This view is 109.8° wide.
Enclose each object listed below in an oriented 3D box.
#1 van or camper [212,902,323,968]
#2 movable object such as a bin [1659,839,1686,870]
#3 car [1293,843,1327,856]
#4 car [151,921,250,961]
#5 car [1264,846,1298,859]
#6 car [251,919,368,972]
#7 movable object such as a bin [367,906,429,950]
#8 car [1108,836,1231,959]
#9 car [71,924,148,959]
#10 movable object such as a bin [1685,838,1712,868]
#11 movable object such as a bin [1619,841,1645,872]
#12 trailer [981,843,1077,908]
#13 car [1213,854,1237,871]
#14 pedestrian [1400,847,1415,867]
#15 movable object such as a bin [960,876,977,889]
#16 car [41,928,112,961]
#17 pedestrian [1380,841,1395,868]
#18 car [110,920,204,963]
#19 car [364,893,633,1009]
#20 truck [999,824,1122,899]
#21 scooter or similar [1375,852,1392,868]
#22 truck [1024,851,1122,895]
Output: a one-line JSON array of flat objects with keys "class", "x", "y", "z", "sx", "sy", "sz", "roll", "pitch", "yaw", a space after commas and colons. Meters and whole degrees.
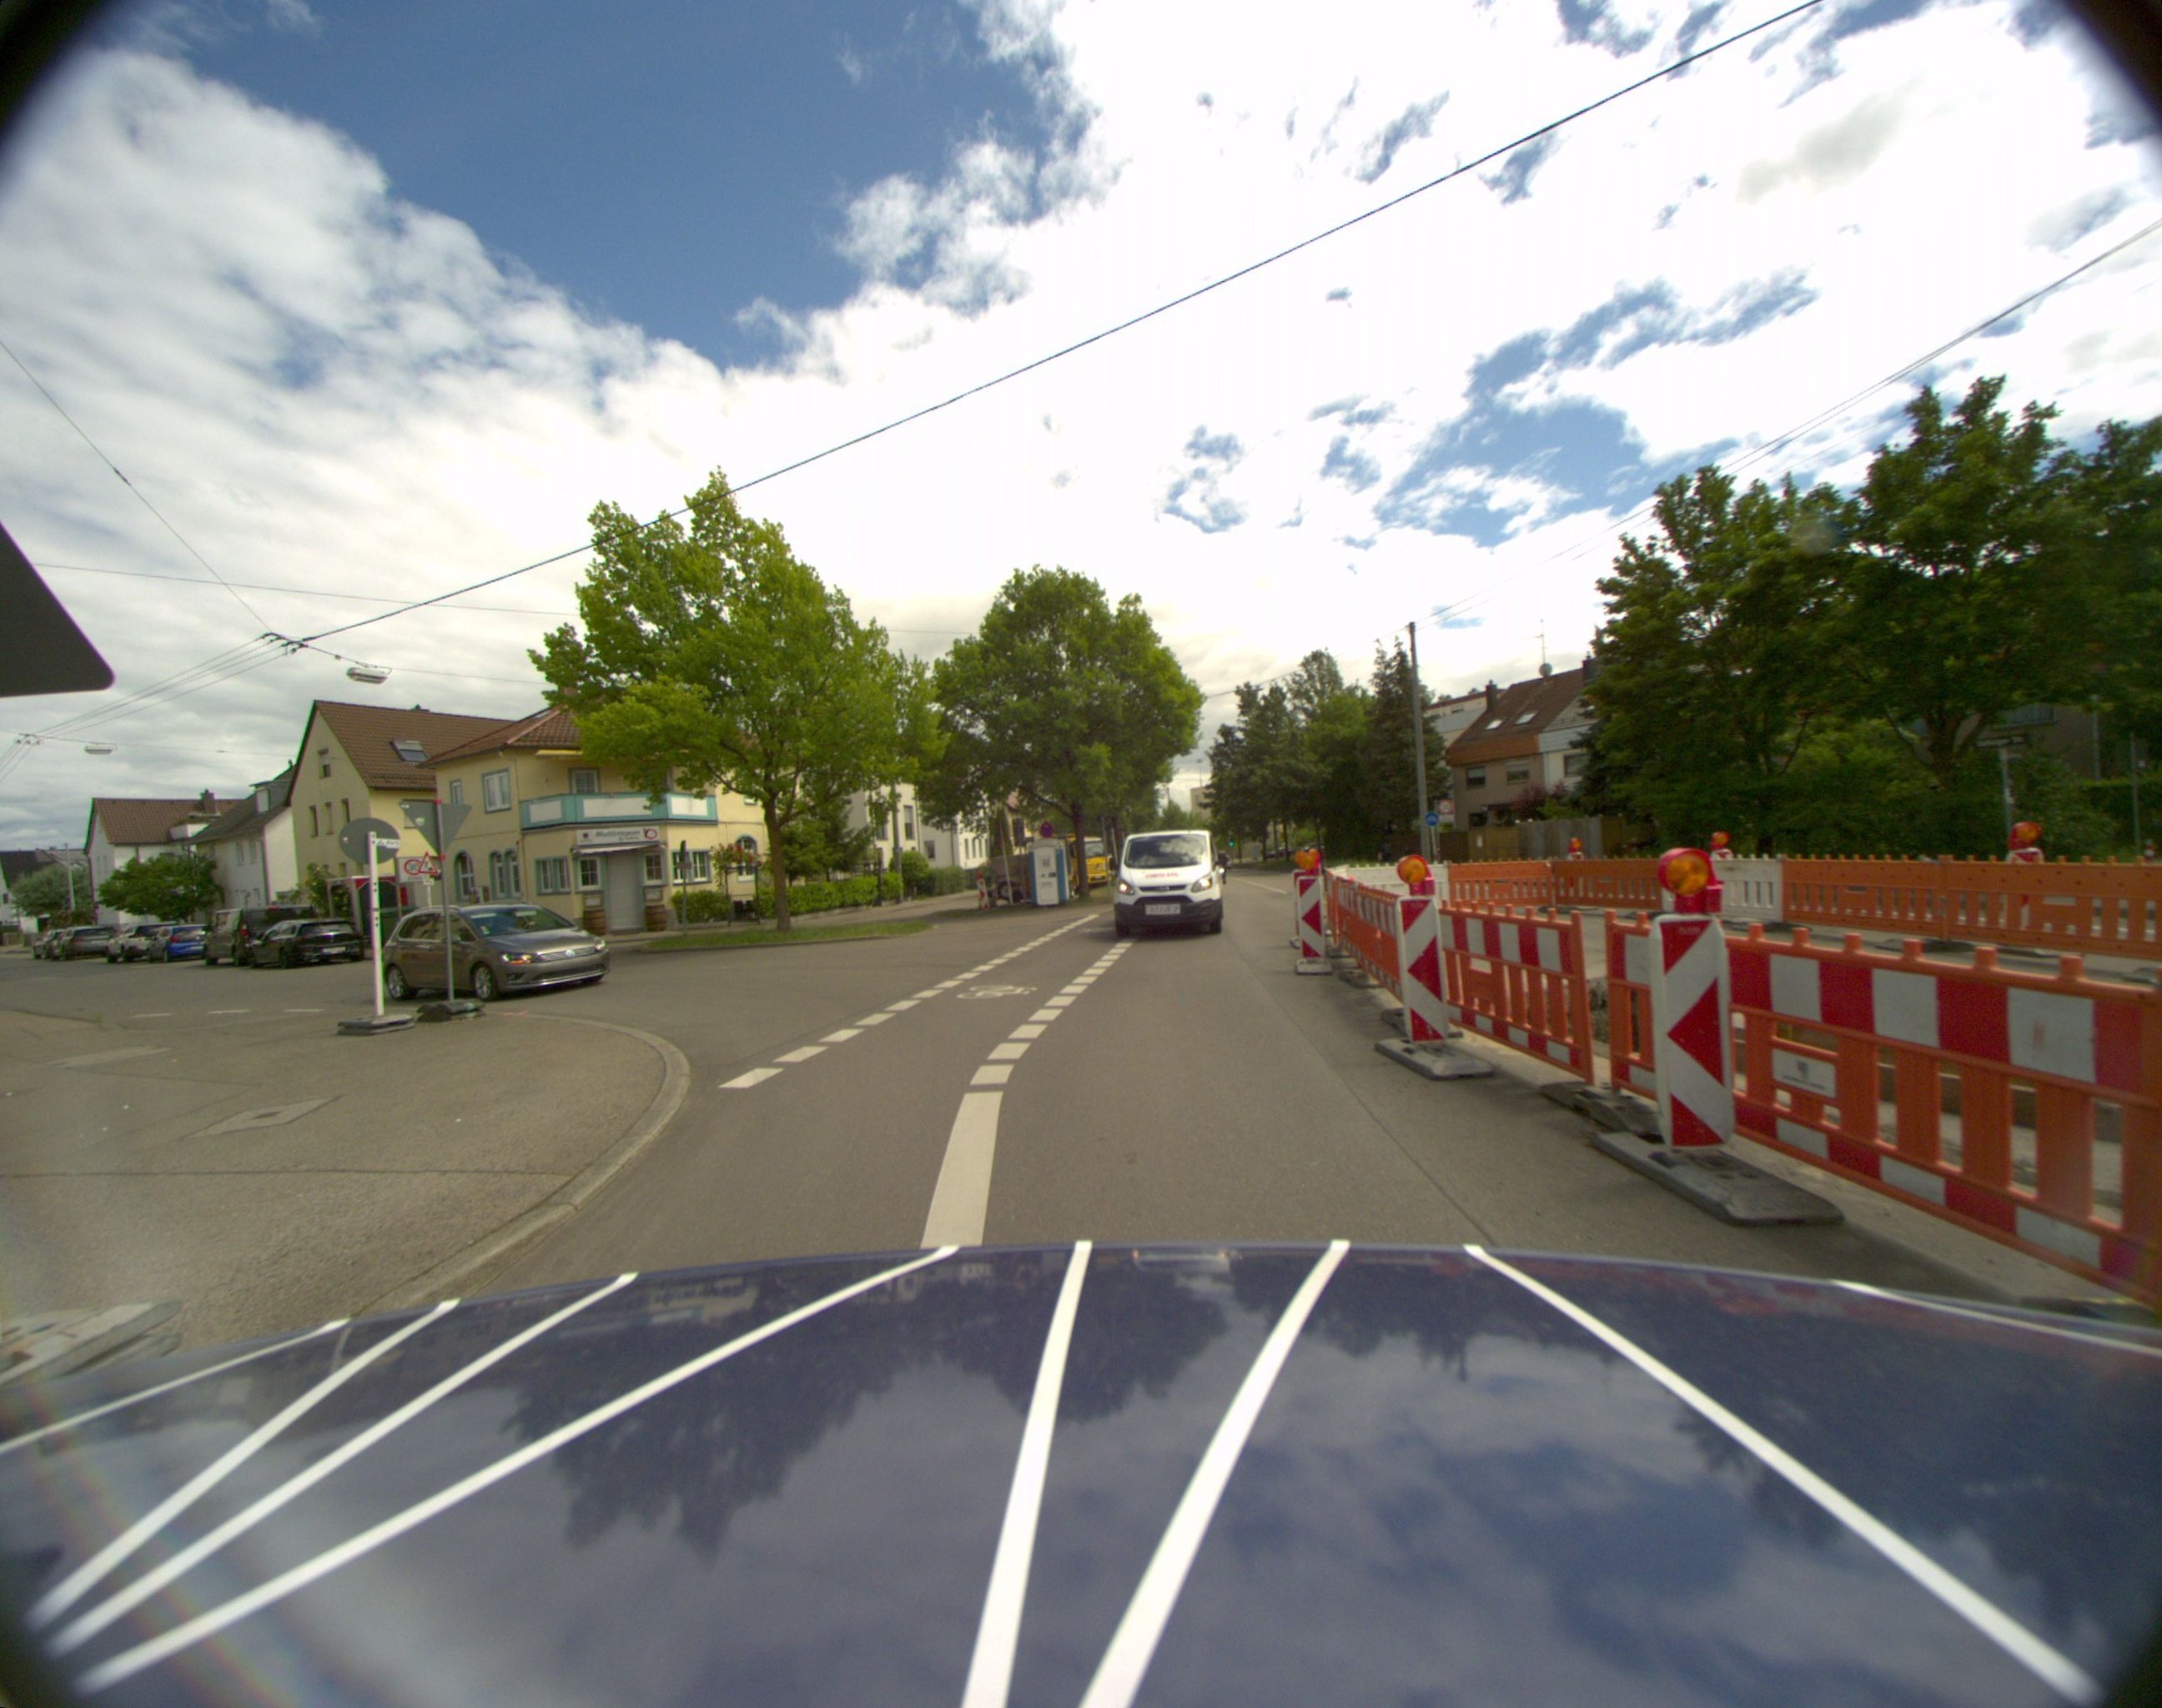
[{"class": "van or camper", "x": -28.355, "y": 2.786, "z": 26.465, "sx": 4.081, "sy": 1.987, "sz": 1.856, "roll": -4, "pitch": 0, "yaw": 33}, {"class": "movable object such as a bin", "x": 18.927, "y": 0.023, "z": 24.327, "sx": 0.372, "sy": 0.972, "sz": 0.547, "roll": -3, "pitch": 1, "yaw": -10}, {"class": "car", "x": 32.048, "y": -0.647, "z": 106.339, "sx": 4.003, "sy": 1.499, "sz": 1.997, "roll": -4, "pitch": 0, "yaw": -20}, {"class": "car", "x": -36.341, "y": 3.556, "z": 31.353, "sx": 3.868, "sy": 1.353, "sz": 2.004, "roll": -4, "pitch": -1, "yaw": 32}, {"class": "car", "x": 27.440, "y": -0.217, "z": 104.366, "sx": 4.003, "sy": 1.499, "sz": 1.997, "roll": -4, "pitch": 0, "yaw": -22}, {"class": "car", "x": -24.181, "y": 2.826, "z": 23.780, "sx": 3.990, "sy": 1.369, "sz": 1.717, "roll": -4, "pitch": 0, "yaw": 32}, {"class": "movable object such as a bin", "x": -26.149, "y": 2.820, "z": 29.115, "sx": 1.303, "sy": 1.482, "sz": 1.416, "roll": -4, "pitch": 0, "yaw": 34}, {"class": "car", "x": 1.890, "y": 0.705, "z": 15.952, "sx": 1.997, "sy": 2.002, "sz": 5.515, "roll": -4, "pitch": 1, "yaw": 8}, {"class": "car", "x": -49.656, "y": 4.452, "z": 38.838, "sx": 3.868, "sy": 1.544, "sz": 1.935, "roll": -4, "pitch": -1, "yaw": 32}, {"class": "movable object such as a bin", "x": 20.074, "y": -0.027, "z": 24.699, "sx": 0.378, "sy": 0.972, "sz": 0.525, "roll": -3, "pitch": 1, "yaw": -10}, {"class": "movable object such as a bin", "x": 18.181, "y": 0.070, "z": 25.083, "sx": 0.476, "sy": 1.005, "sz": 0.495, "roll": -2, "pitch": 1, "yaw": 3}, {"class": "trailer", "x": -1.977, "y": 0.787, "z": 31.286, "sx": 2.597, "sy": 2.232, "sz": 5.677, "roll": -5, "pitch": 0, "yaw": 9}, {"class": "car", "x": 13.592, "y": 0.801, "z": 71.864, "sx": 1.697, "sy": 1.504, "sz": 4.000, "roll": -2, "pitch": 0, "yaw": 3}, {"class": "pedestrian", "x": 18.595, "y": 0.152, "z": 43.286, "sx": 0.556, "sy": 1.080, "sz": 0.642, "roll": -4, "pitch": 0, "yaw": 6}, {"class": "movable object such as a bin", "x": -8.872, "y": 2.263, "z": 59.832, "sx": 1.121, "sy": 0.935, "sz": 0.823, "roll": -4, "pitch": 0, "yaw": 7}, {"class": "car", "x": -55.540, "y": 4.957, "z": 42.013, "sx": 3.868, "sy": 1.544, "sz": 1.935, "roll": -4, "pitch": -1, "yaw": 32}, {"class": "pedestrian", "x": 17.395, "y": 0.040, "z": 43.104, "sx": 0.556, "sy": 1.472, "sz": 0.642, "roll": -4, "pitch": 0, "yaw": 6}, {"class": "car", "x": -40.019, "y": 3.756, "z": 32.904, "sx": 3.868, "sy": 1.544, "sz": 2.004, "roll": -4, "pitch": -1, "yaw": 32}, {"class": "car", "x": -9.967, "y": 1.637, "z": 13.010, "sx": 3.991, "sy": 1.615, "sz": 1.872, "roll": -5, "pitch": 0, "yaw": 24}, {"class": "truck", "x": -1.196, "y": 0.457, "z": 39.187, "sx": 2.347, "sy": 3.178, "sz": 6.617, "roll": -3, "pitch": -3, "yaw": -43}, {"class": "scooter or similar", "x": 17.495, "y": 0.333, "z": 43.932, "sx": 0.637, "sy": 0.859, "sz": 1.031, "roll": -4, "pitch": 0, "yaw": 6}, {"class": "truck", "x": -0.565, "y": 1.105, "z": 42.664, "sx": 2.003, "sy": 2.001, "sz": 5.944, "roll": -4, "pitch": -2, "yaw": -41}]
